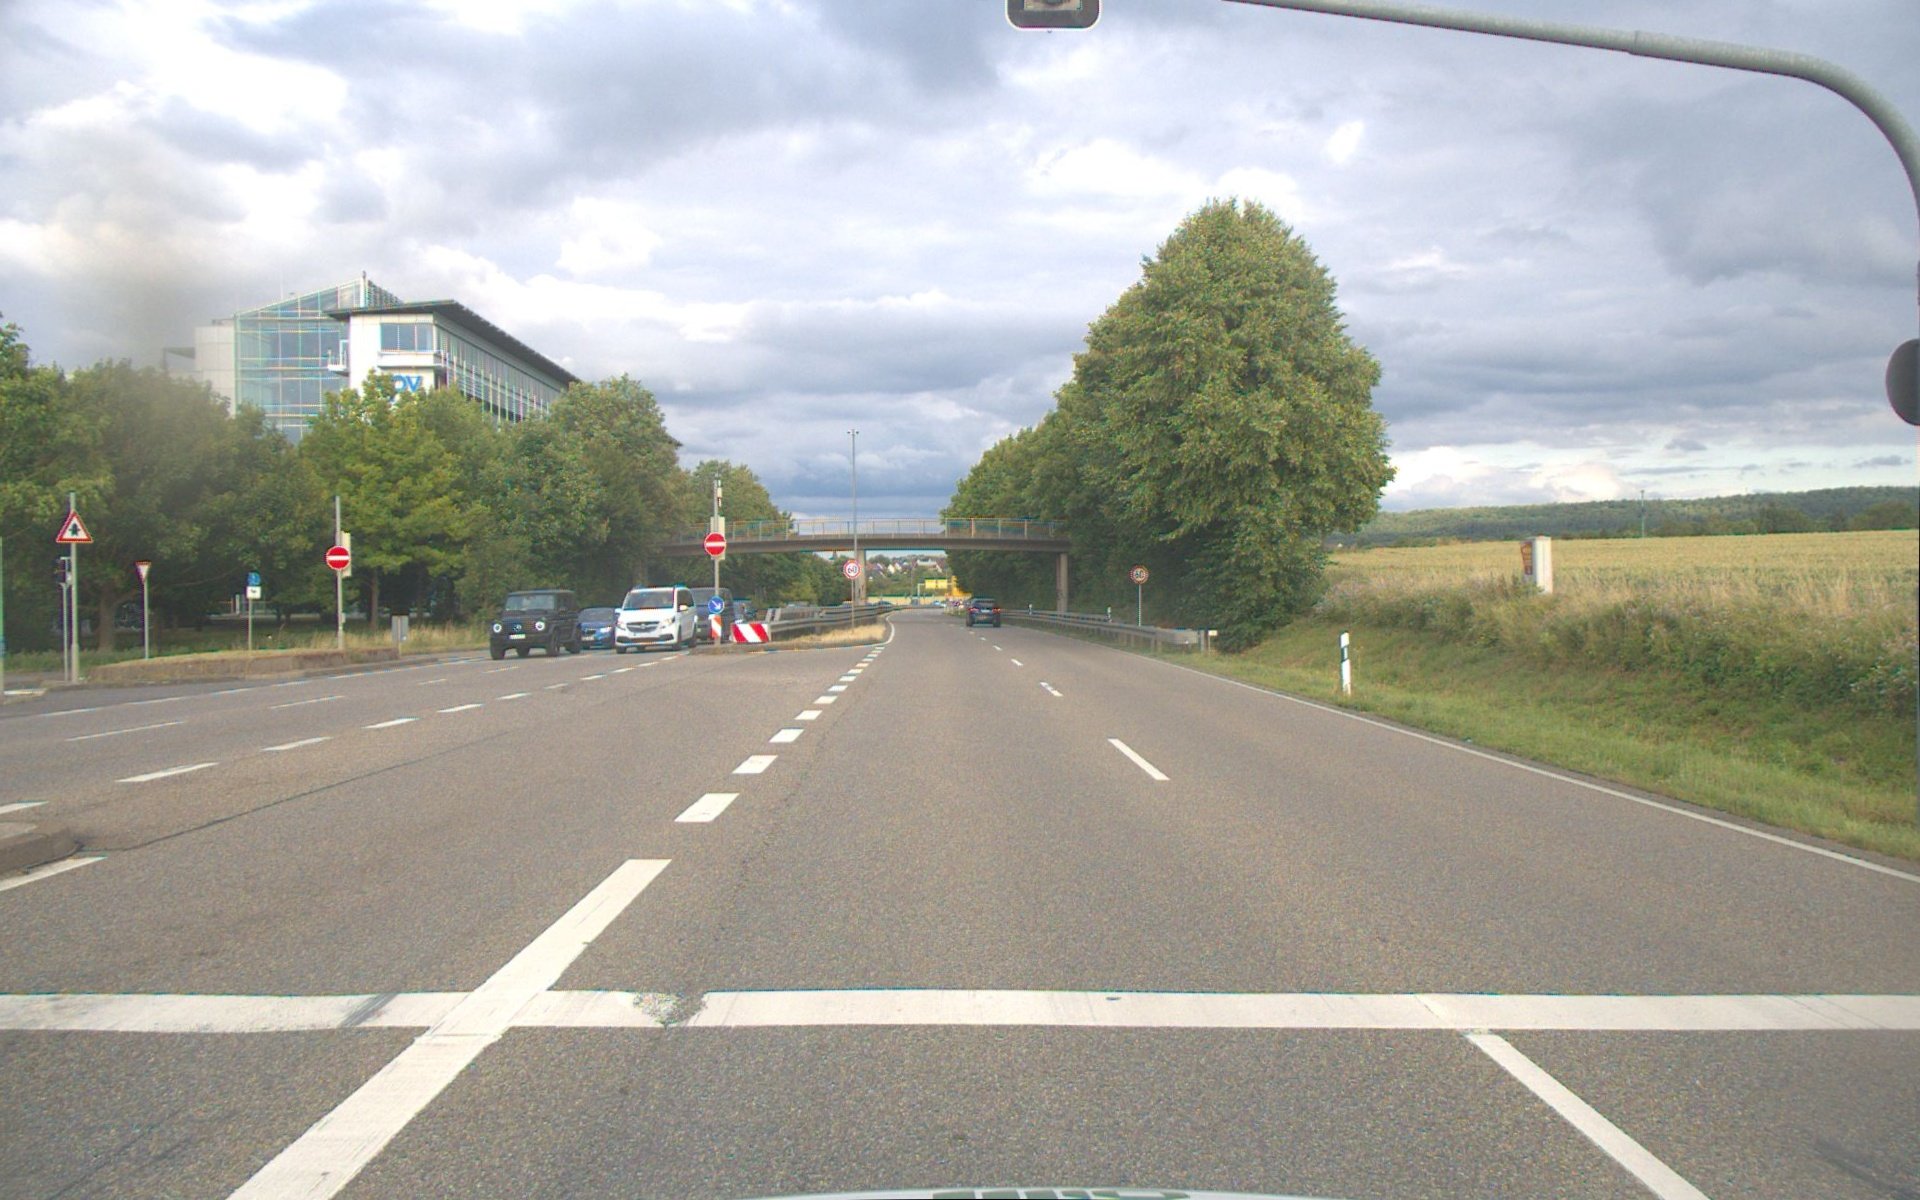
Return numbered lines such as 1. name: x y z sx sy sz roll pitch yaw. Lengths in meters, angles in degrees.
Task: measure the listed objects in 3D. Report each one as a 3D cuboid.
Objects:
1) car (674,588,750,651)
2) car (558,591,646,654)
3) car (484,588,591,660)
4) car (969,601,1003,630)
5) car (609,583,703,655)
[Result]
1. car: -8.664 0.666 58.146 2.041 2.049 5.214 1 0 -2
2. car: -12.428 0.758 57.735 2.041 2.049 5.214 1 0 -2
3. car: -12.752 0.709 50.229 2.041 2.049 5.214 1 0 -2
4. car: 1.443 0.850 92.556 1.841 1.579 4.000 1 0 0
5. car: -9.193 0.568 50.401 2.041 2.049 5.214 1 0 -2
